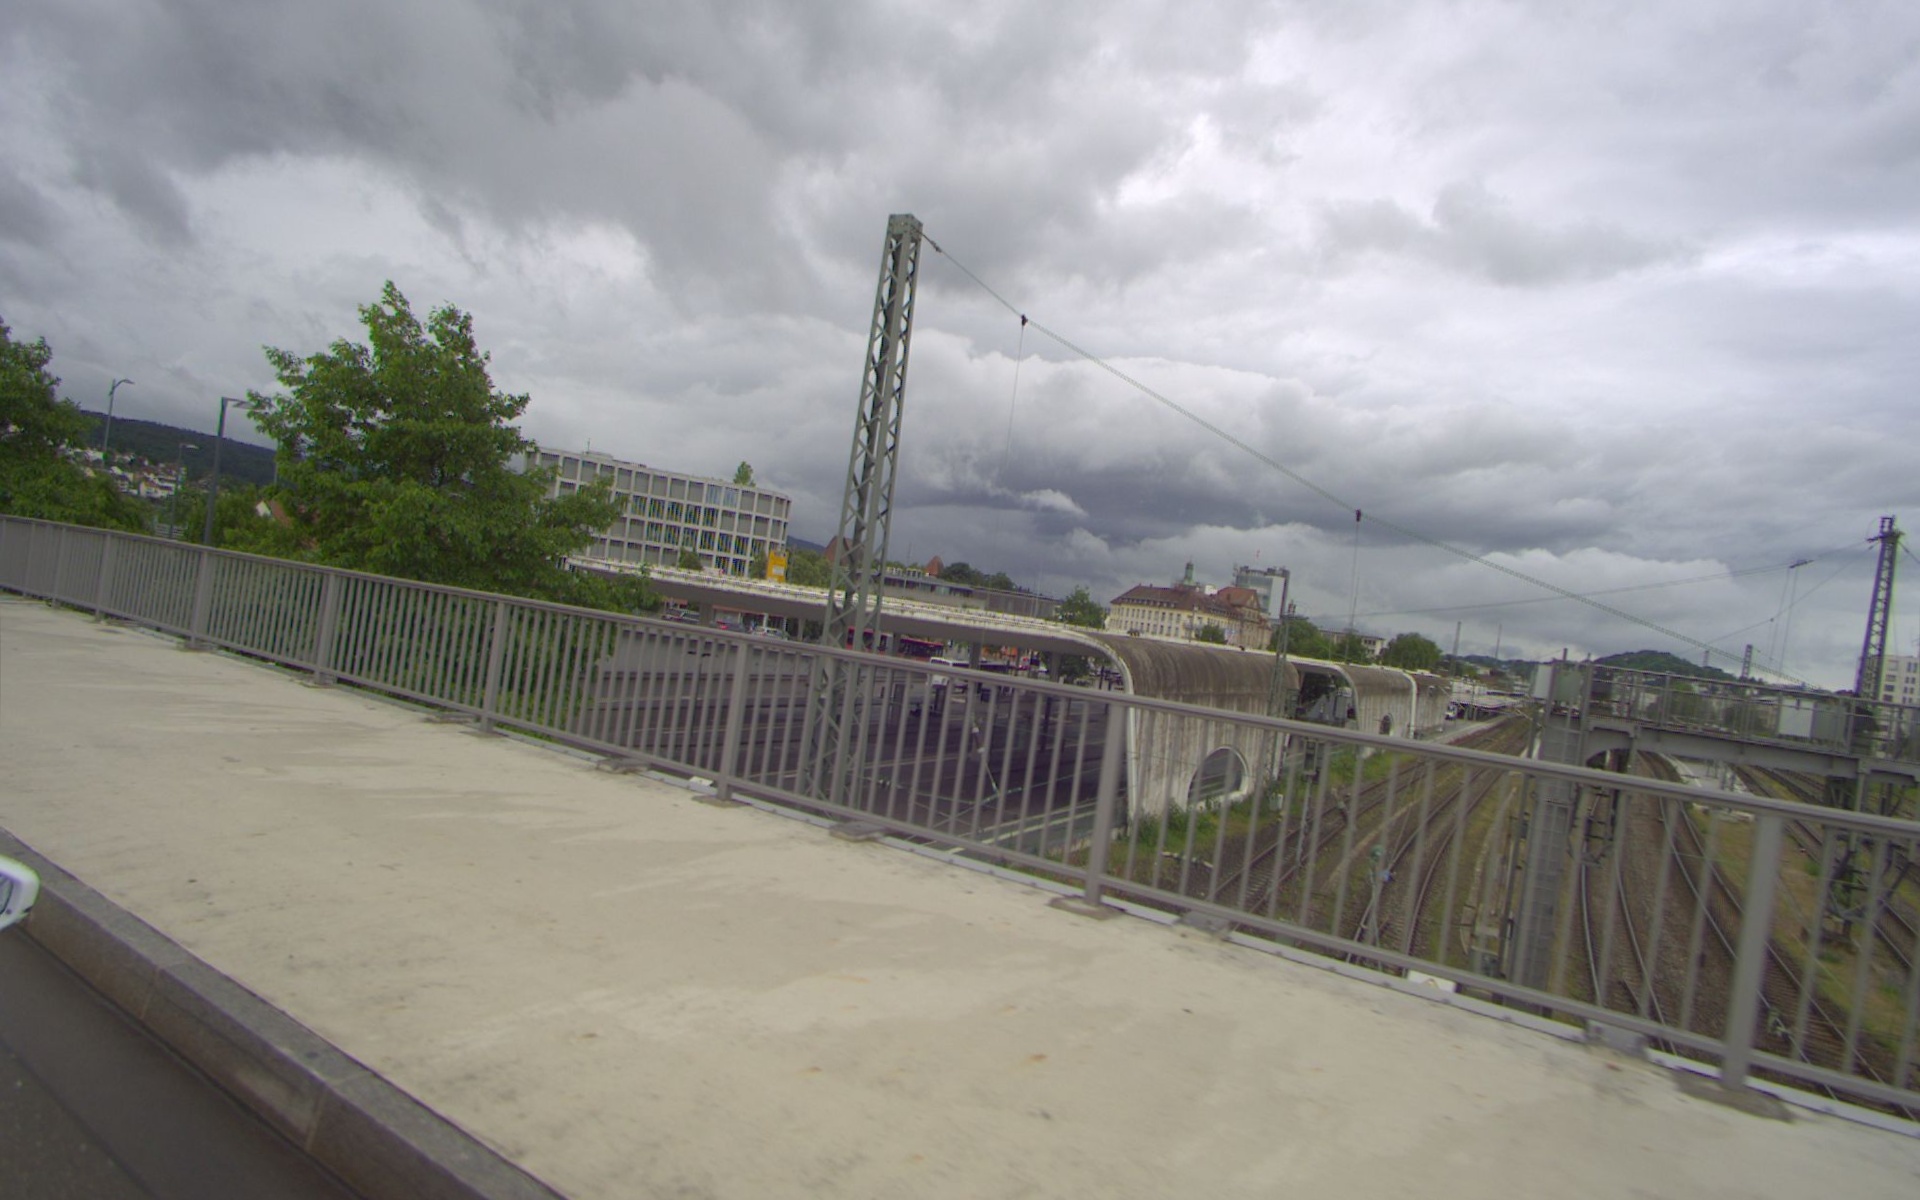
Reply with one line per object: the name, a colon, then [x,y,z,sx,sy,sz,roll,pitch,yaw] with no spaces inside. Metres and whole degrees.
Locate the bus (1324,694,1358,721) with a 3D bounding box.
bus: [52.551,14.866,138.611,2.566,3.247,6.980,8,-1,34]
